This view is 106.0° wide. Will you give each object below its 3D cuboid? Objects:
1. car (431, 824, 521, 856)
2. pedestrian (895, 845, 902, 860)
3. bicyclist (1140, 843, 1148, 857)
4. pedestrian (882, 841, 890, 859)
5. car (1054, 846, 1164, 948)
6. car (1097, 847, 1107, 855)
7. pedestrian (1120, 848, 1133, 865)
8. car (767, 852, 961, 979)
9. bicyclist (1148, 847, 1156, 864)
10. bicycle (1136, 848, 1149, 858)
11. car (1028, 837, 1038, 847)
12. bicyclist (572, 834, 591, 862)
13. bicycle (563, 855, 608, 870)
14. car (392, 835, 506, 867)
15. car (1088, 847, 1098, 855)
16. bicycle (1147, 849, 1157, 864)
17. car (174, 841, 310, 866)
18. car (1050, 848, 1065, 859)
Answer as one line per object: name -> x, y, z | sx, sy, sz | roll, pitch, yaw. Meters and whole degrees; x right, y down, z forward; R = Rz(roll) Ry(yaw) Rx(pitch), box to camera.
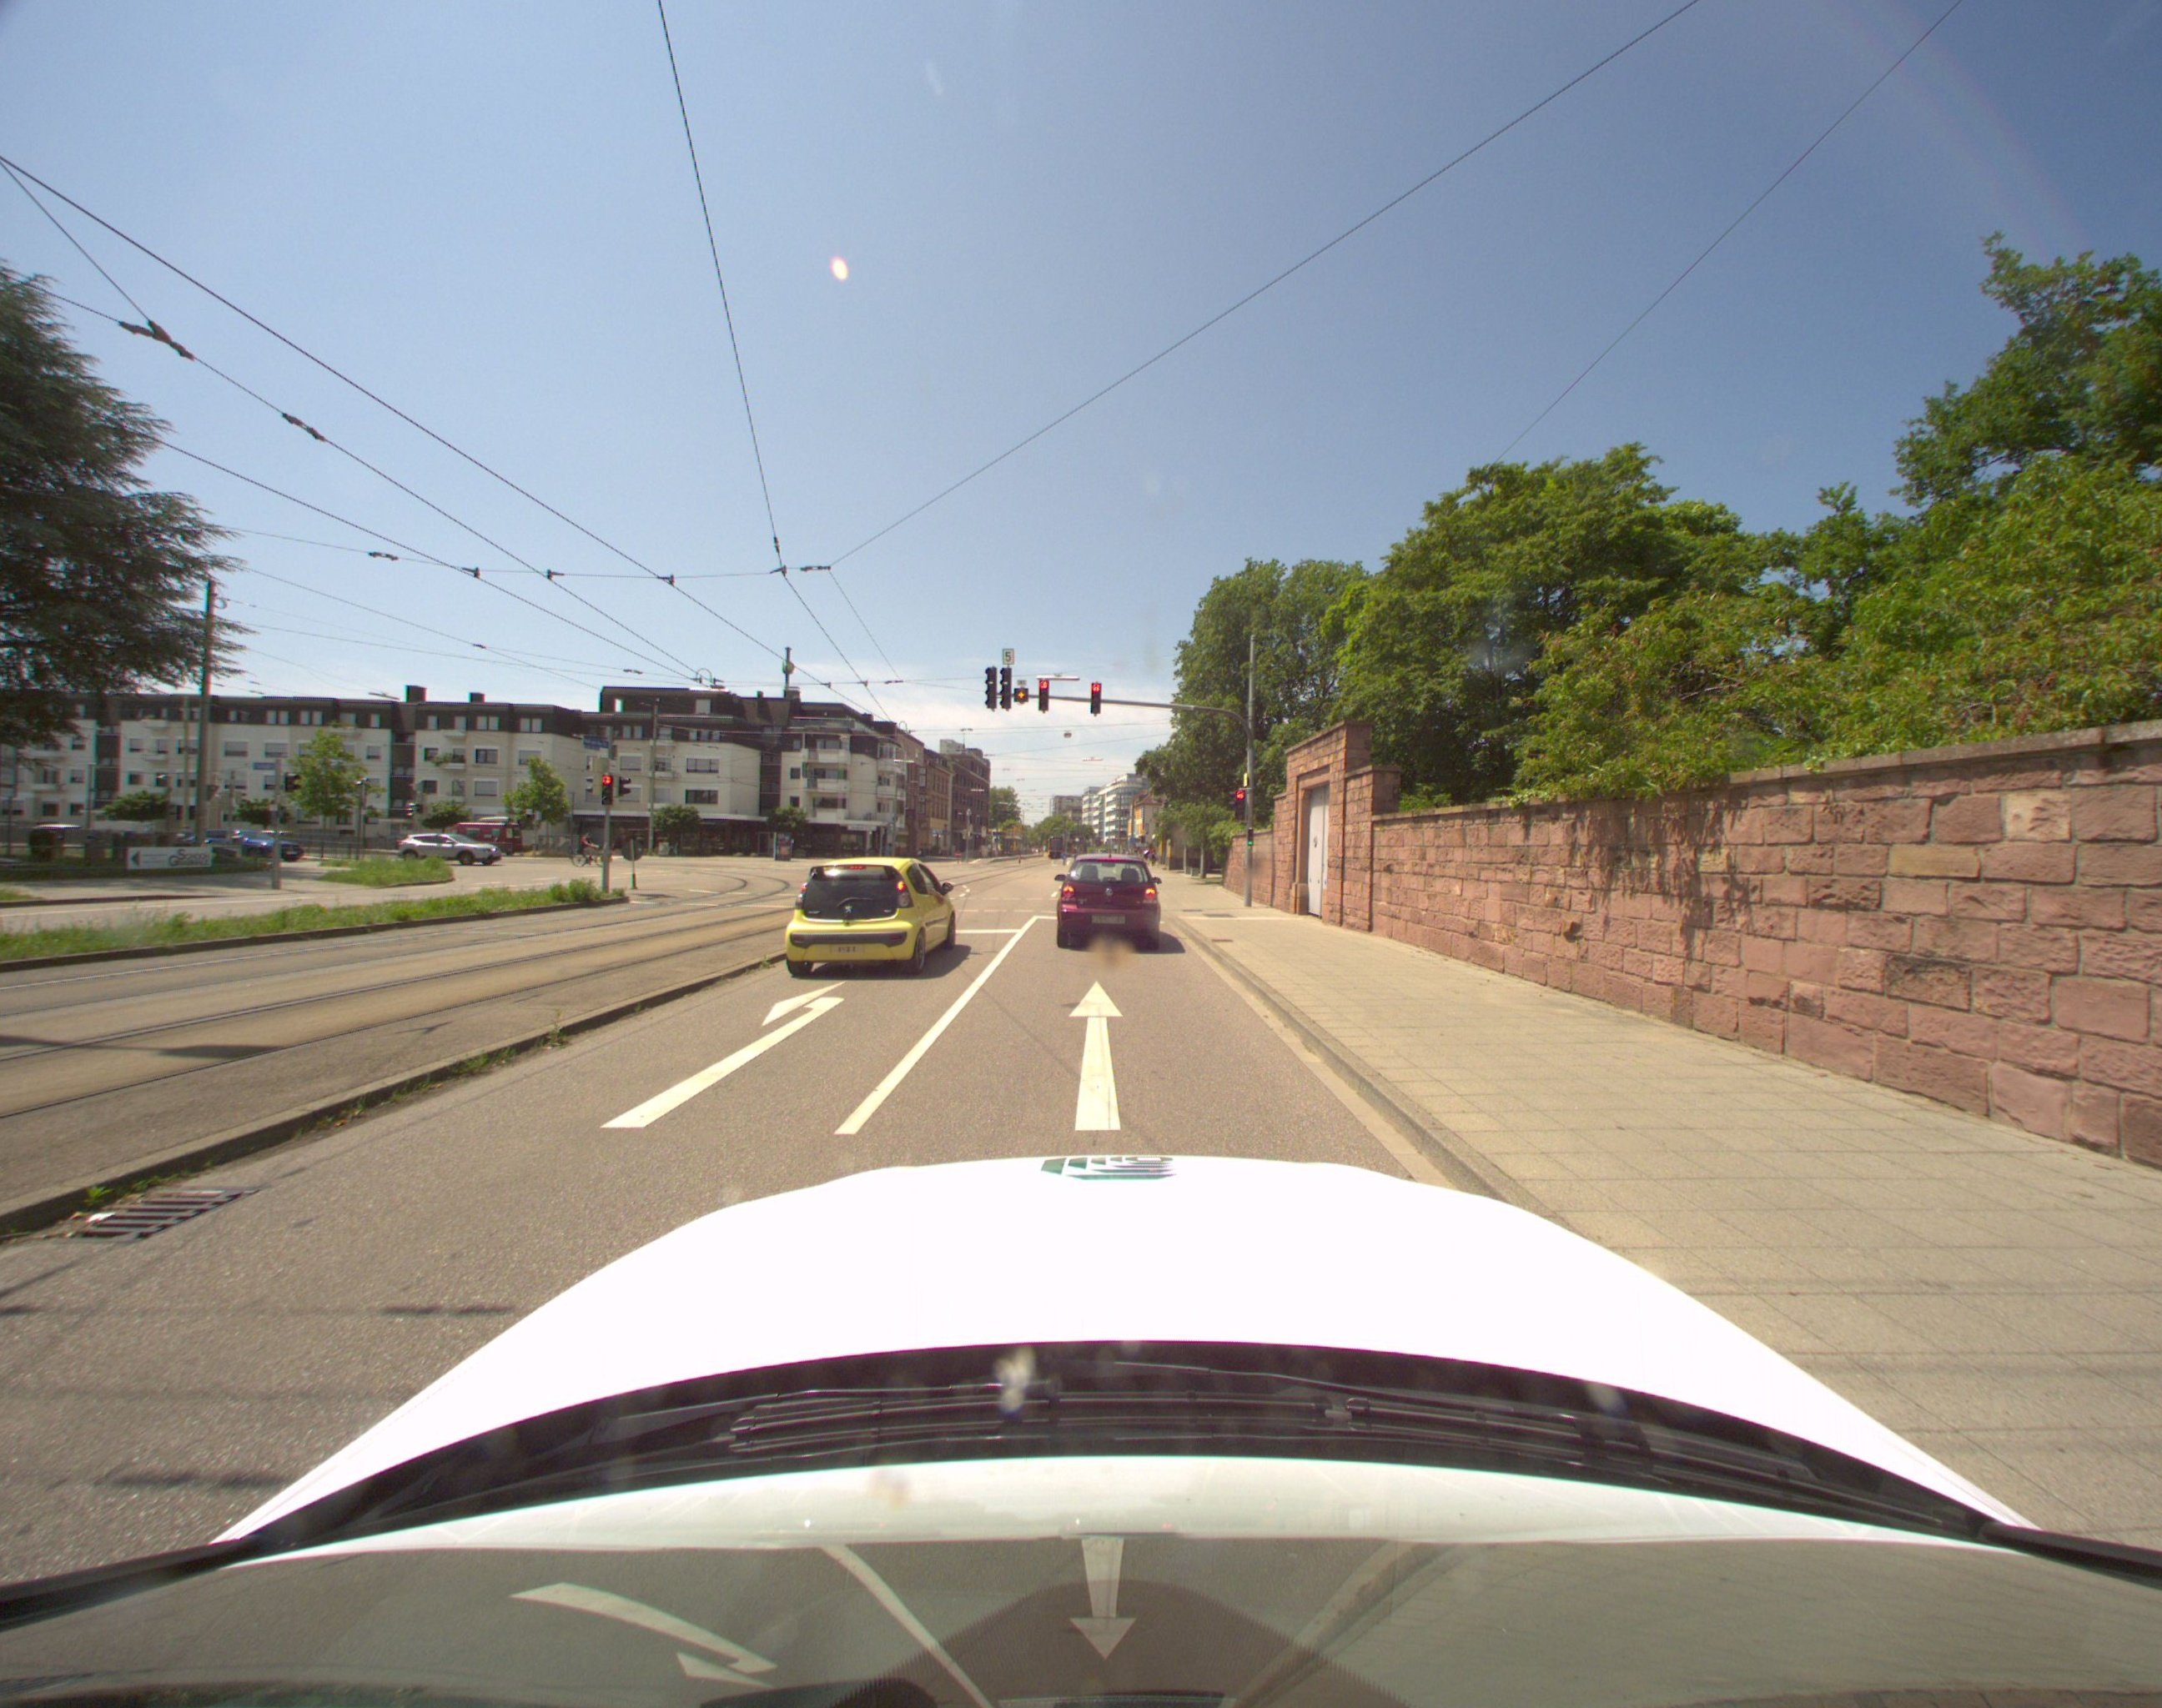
car -> -45.304, -1.047, 61.060 | 5.048, 2.341, 2.244 | 0, -1, 0
pedestrian -> -18.476, -0.162, 82.382 | 0.480, 1.541, 0.540 | 0, -1, 15
bicyclist -> 6.353, -0.440, 82.059 | 0.500, 1.406, 0.773 | 0, -1, 29
pedestrian -> -19.671, -0.393, 82.106 | 0.614, 1.754, 0.499 | 1, -1, -43
car -> 0.453, 0.628, 14.107 | 1.604, 1.463, 4.086 | 1, 0, 1
car -> 3.677, -0.487, 143.272 | 1.567, 1.415, 3.721 | -1, 0, 1
pedestrian -> 4.537, 0.220, 81.110 | 0.990, 1.661, 0.908 | 1, 0, -44
car -> -2.805, 0.719, 11.248 | 1.717, 1.445, 3.293 | -1, 1, 1
bicyclist -> 7.382, 0.141, 84.539 | 0.719, 1.818, 0.889 | 0, -1, 1
bicycle -> 6.164, -0.119, 81.726 | 0.572, 1.008, 1.883 | 0, -1, 30
car -> -9.468, -2.352, 160.623 | 1.728, 2.013, 4.002 | 1, 0, 2
bicyclist -> -26.273, -0.307, 42.835 | 0.752, 1.501, 0.479 | 0, -1, -20
bicycle -> -26.111, 0.424, 42.933 | 1.987, 0.783, 0.463 | 0, -1, -20
car -> -32.141, -0.142, 41.537 | 4.140, 1.584, 1.932 | 0, -1, -11
car -> 2.432, -0.596, 165.551 | 1.774, 1.623, 3.999 | 0, -1, 0
bicycle -> 7.296, 0.278, 83.643 | 0.831, 1.525, 4.001 | 0, -1, 2
car -> -42.458, -0.040, 41.301 | 4.757, 1.237, 1.938 | 0, -1, -2
car -> -3.534, -0.004, 123.145 | 1.931, 1.641, 4.001 | 0, -1, 1
